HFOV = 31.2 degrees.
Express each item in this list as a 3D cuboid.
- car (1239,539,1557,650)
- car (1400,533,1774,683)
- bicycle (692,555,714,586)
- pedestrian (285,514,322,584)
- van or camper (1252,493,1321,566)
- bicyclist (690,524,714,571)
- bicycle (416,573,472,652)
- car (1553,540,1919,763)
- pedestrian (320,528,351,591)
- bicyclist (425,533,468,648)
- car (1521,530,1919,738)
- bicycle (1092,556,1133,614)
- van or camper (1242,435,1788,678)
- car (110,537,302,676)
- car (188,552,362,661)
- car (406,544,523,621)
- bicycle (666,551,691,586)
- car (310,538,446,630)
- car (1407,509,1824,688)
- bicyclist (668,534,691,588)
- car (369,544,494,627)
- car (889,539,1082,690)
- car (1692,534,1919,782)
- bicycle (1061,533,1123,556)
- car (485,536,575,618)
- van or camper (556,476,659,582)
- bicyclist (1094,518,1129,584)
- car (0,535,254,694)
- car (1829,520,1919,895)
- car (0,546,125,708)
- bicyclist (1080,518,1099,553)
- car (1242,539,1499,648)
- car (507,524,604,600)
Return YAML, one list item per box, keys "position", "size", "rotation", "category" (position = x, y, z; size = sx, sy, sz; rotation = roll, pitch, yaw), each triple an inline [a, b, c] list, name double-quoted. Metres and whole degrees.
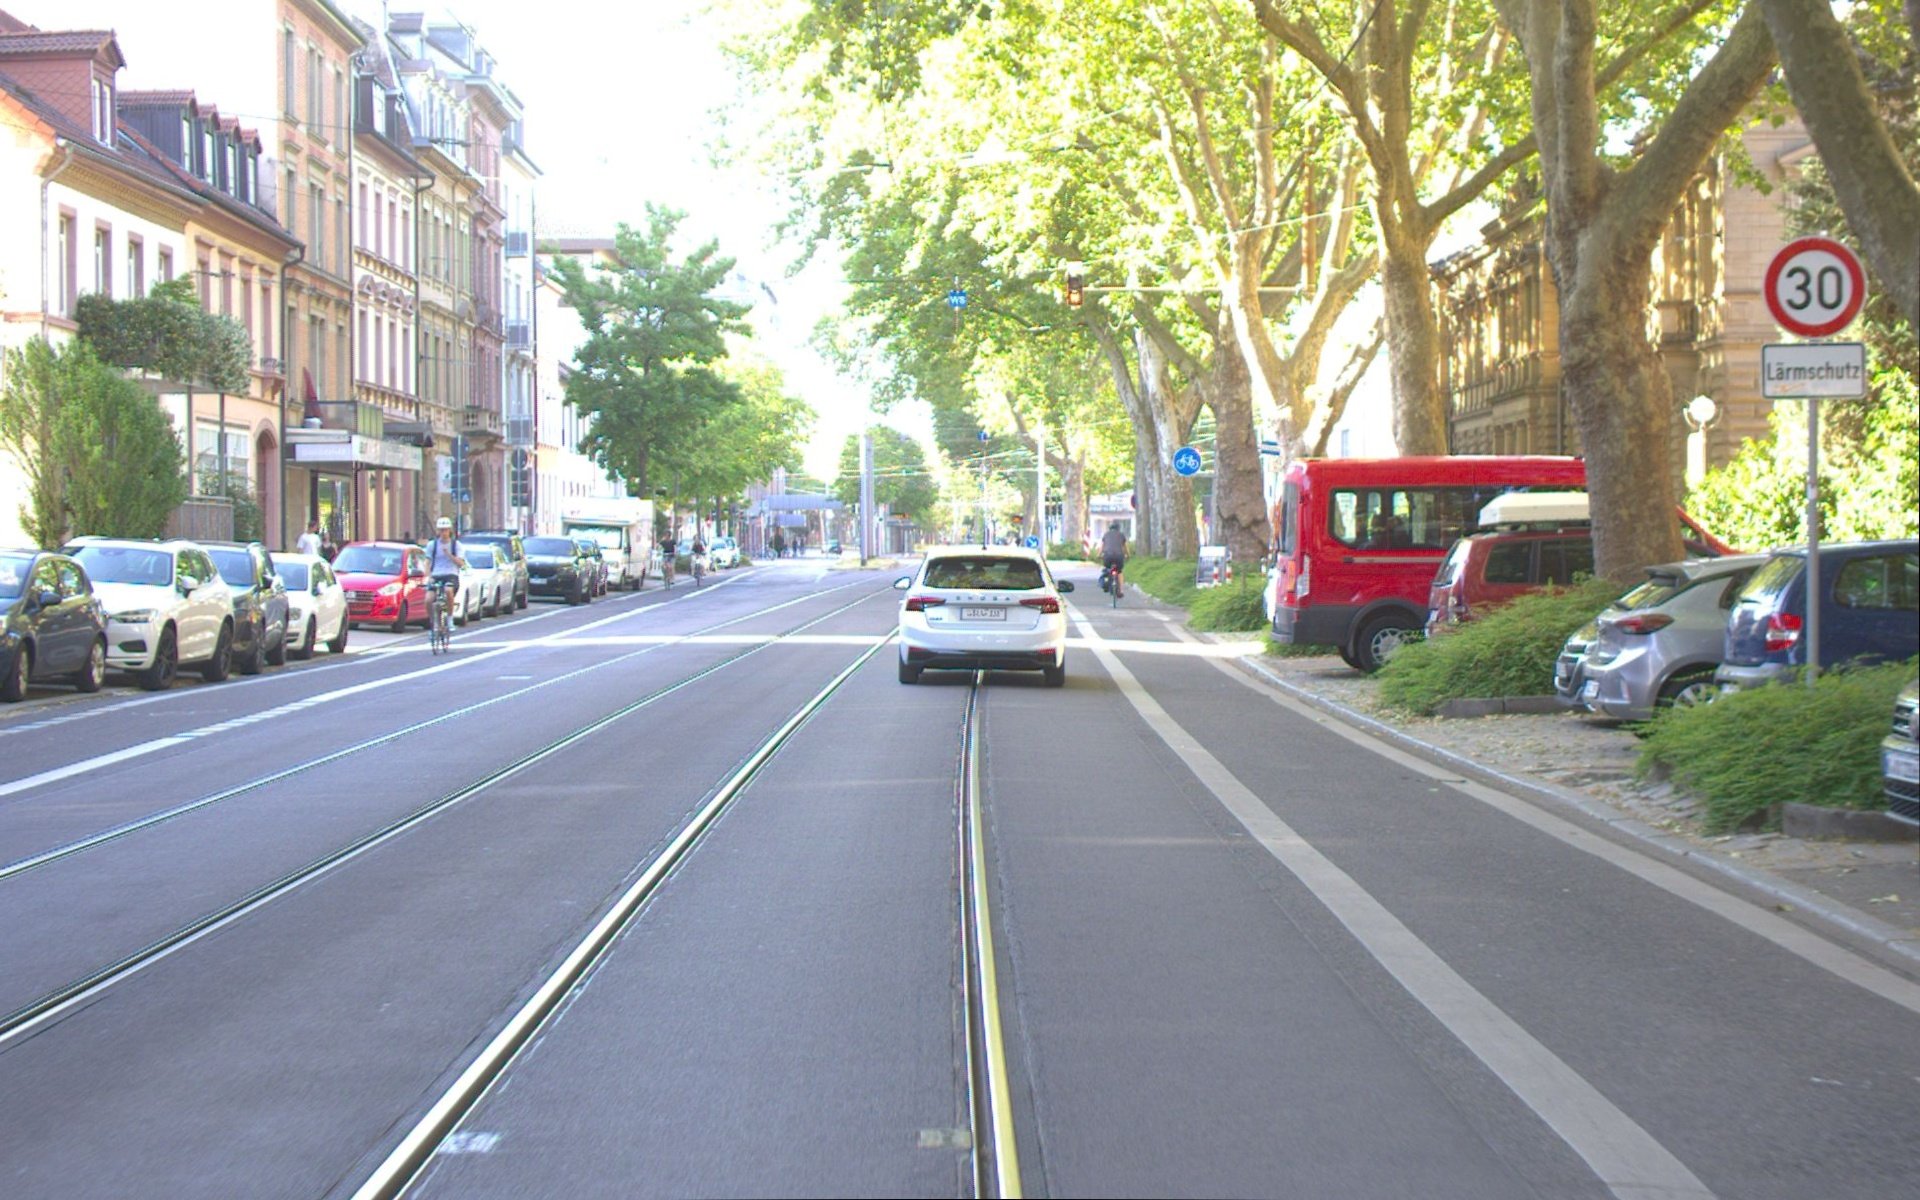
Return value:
- position: [6.160, -0.090, 48.708]
  size: [4.286, 1.412, 1.760]
  rotation: [-2, 1, 2]
  category: "car"
- position: [6.841, 0.071, 37.730]
  size: [3.733, 1.524, 1.669]
  rotation: [-1, 1, -3]
  category: "car"
- position: [-8.243, -0.952, 110.364]
  size: [0.499, 0.940, 1.921]
  rotation: [-2, 1, 2]
  category: "bicycle"
- position: [-15.375, -1.196, 80.505]
  size: [0.771, 1.628, 0.657]
  rotation: [1, 1, -16]
  category: "pedestrian"
- position: [11.359, -2.428, 119.836]
  size: [2.027, 2.455, 5.108]
  rotation: [1, 1, 2]
  category: "van or camper"
- position: [-8.255, -1.678, 110.138]
  size: [0.638, 1.498, 1.069]
  rotation: [-1, 1, 1]
  category: "bicyclist"
- position: [-7.328, 0.163, 48.896]
  size: [0.481, 1.082, 1.846]
  rotation: [0, 1, 1]
  category: "bicycle"
- position: [6.365, 0.340, 25.494]
  size: [3.595, 1.512, 1.694]
  rotation: [-2, 1, 0]
  category: "car"
- position: [-14.656, -0.955, 80.710]
  size: [0.635, 1.455, 0.657]
  rotation: [1, 1, -16]
  category: "pedestrian"
- position: [-7.313, -0.142, 48.981]
  size: [0.473, 1.630, 0.800]
  rotation: [0, 1, 1]
  category: "bicyclist"
- position: [6.658, 0.254, 28.540]
  size: [3.670, 1.518, 1.694]
  rotation: [-3, 1, 0]
  category: "car"
- position: [3.117, -0.324, 70.318]
  size: [0.680, 1.151, 2.964]
  rotation: [1, 1, 0]
  category: "bicycle"
- position: [6.337, -0.523, 39.730]
  size: [5.814, 2.510, 2.288]
  rotation: [-2, 2, -2]
  category: "van or camper"
- position: [-9.741, 0.036, 44.711]
  size: [1.856, 1.698, 4.660]
  rotation: [-1, 1, -5]
  category: "car"
- position: [-9.952, 0.065, 50.226]
  size: [1.687, 1.472, 4.258]
  rotation: [1, 1, 0]
  category: "car"
- position: [-10.178, -0.386, 70.840]
  size: [1.827, 1.497, 4.450]
  rotation: [1, 1, -1]
  category: "car"
- position: [-8.568, -0.973, 104.728]
  size: [0.484, 1.044, 2.039]
  rotation: [-2, 1, 2]
  category: "bicycle"
- position: [-10.152, -0.303, 60.179]
  size: [1.569, 1.557, 3.448]
  rotation: [0, 1, 4]
  category: "car"
- position: [6.633, -0.012, 35.049]
  size: [3.818, 1.643, 1.767]
  rotation: [-2, 0, -3]
  category: "car"
- position: [-8.550, -1.193, 104.941]
  size: [0.535, 1.629, 0.896]
  rotation: [-2, 1, 2]
  category: "bicyclist"
- position: [-10.103, -0.309, 66.024]
  size: [1.827, 1.497, 4.689]
  rotation: [1, 1, -2]
  category: "car"
- position: [0.216, 0.118, 36.157]
  size: [1.842, 1.475, 3.839]
  rotation: [1, 1, -2]
  category: "car"
- position: [6.852, 0.361, 22.939]
  size: [3.595, 1.594, 1.541]
  rotation: [0, 0, 0]
  category: "car"
- position: [6.064, -2.573, 158.452]
  size: [2.771, 0.996, 0.592]
  rotation: [1, 1, 15]
  category: "bicycle"
- position: [-9.395, -0.533, 75.349]
  size: [1.555, 1.726, 3.686]
  rotation: [1, 1, -1]
  category: "car"
- position: [-10.756, -2.158, 105.481]
  size: [2.216, 3.129, 7.113]
  rotation: [1, 1, 2]
  category: "van or camper"
- position: [3.112, -1.009, 70.598]
  size: [0.679, 1.334, 0.525]
  rotation: [1, 1, 0]
  category: "bicyclist"
- position: [-9.543, 0.111, 39.410]
  size: [1.856, 1.698, 4.763]
  rotation: [-1, 1, 1]
  category: "car"
- position: [6.504, 0.398, 16.183]
  size: [4.261, 1.713, 1.849]
  rotation: [-3, 1, -2]
  category: "car"
- position: [-9.706, 0.230, 34.492]
  size: [1.554, 1.510, 3.924]
  rotation: [-1, 1, 2]
  category: "car"
- position: [5.973, -2.985, 158.488]
  size: [0.737, 1.583, 0.586]
  rotation: [0, 1, 12]
  category: "bicyclist"
- position: [6.392, -0.118, 53.815]
  size: [3.751, 1.503, 1.681]
  rotation: [3, 1, 0]
  category: "car"
- position: [-10.253, -0.982, 87.468]
  size: [1.964, 1.775, 4.938]
  rotation: [2, 1, -2]
  category: "car"
